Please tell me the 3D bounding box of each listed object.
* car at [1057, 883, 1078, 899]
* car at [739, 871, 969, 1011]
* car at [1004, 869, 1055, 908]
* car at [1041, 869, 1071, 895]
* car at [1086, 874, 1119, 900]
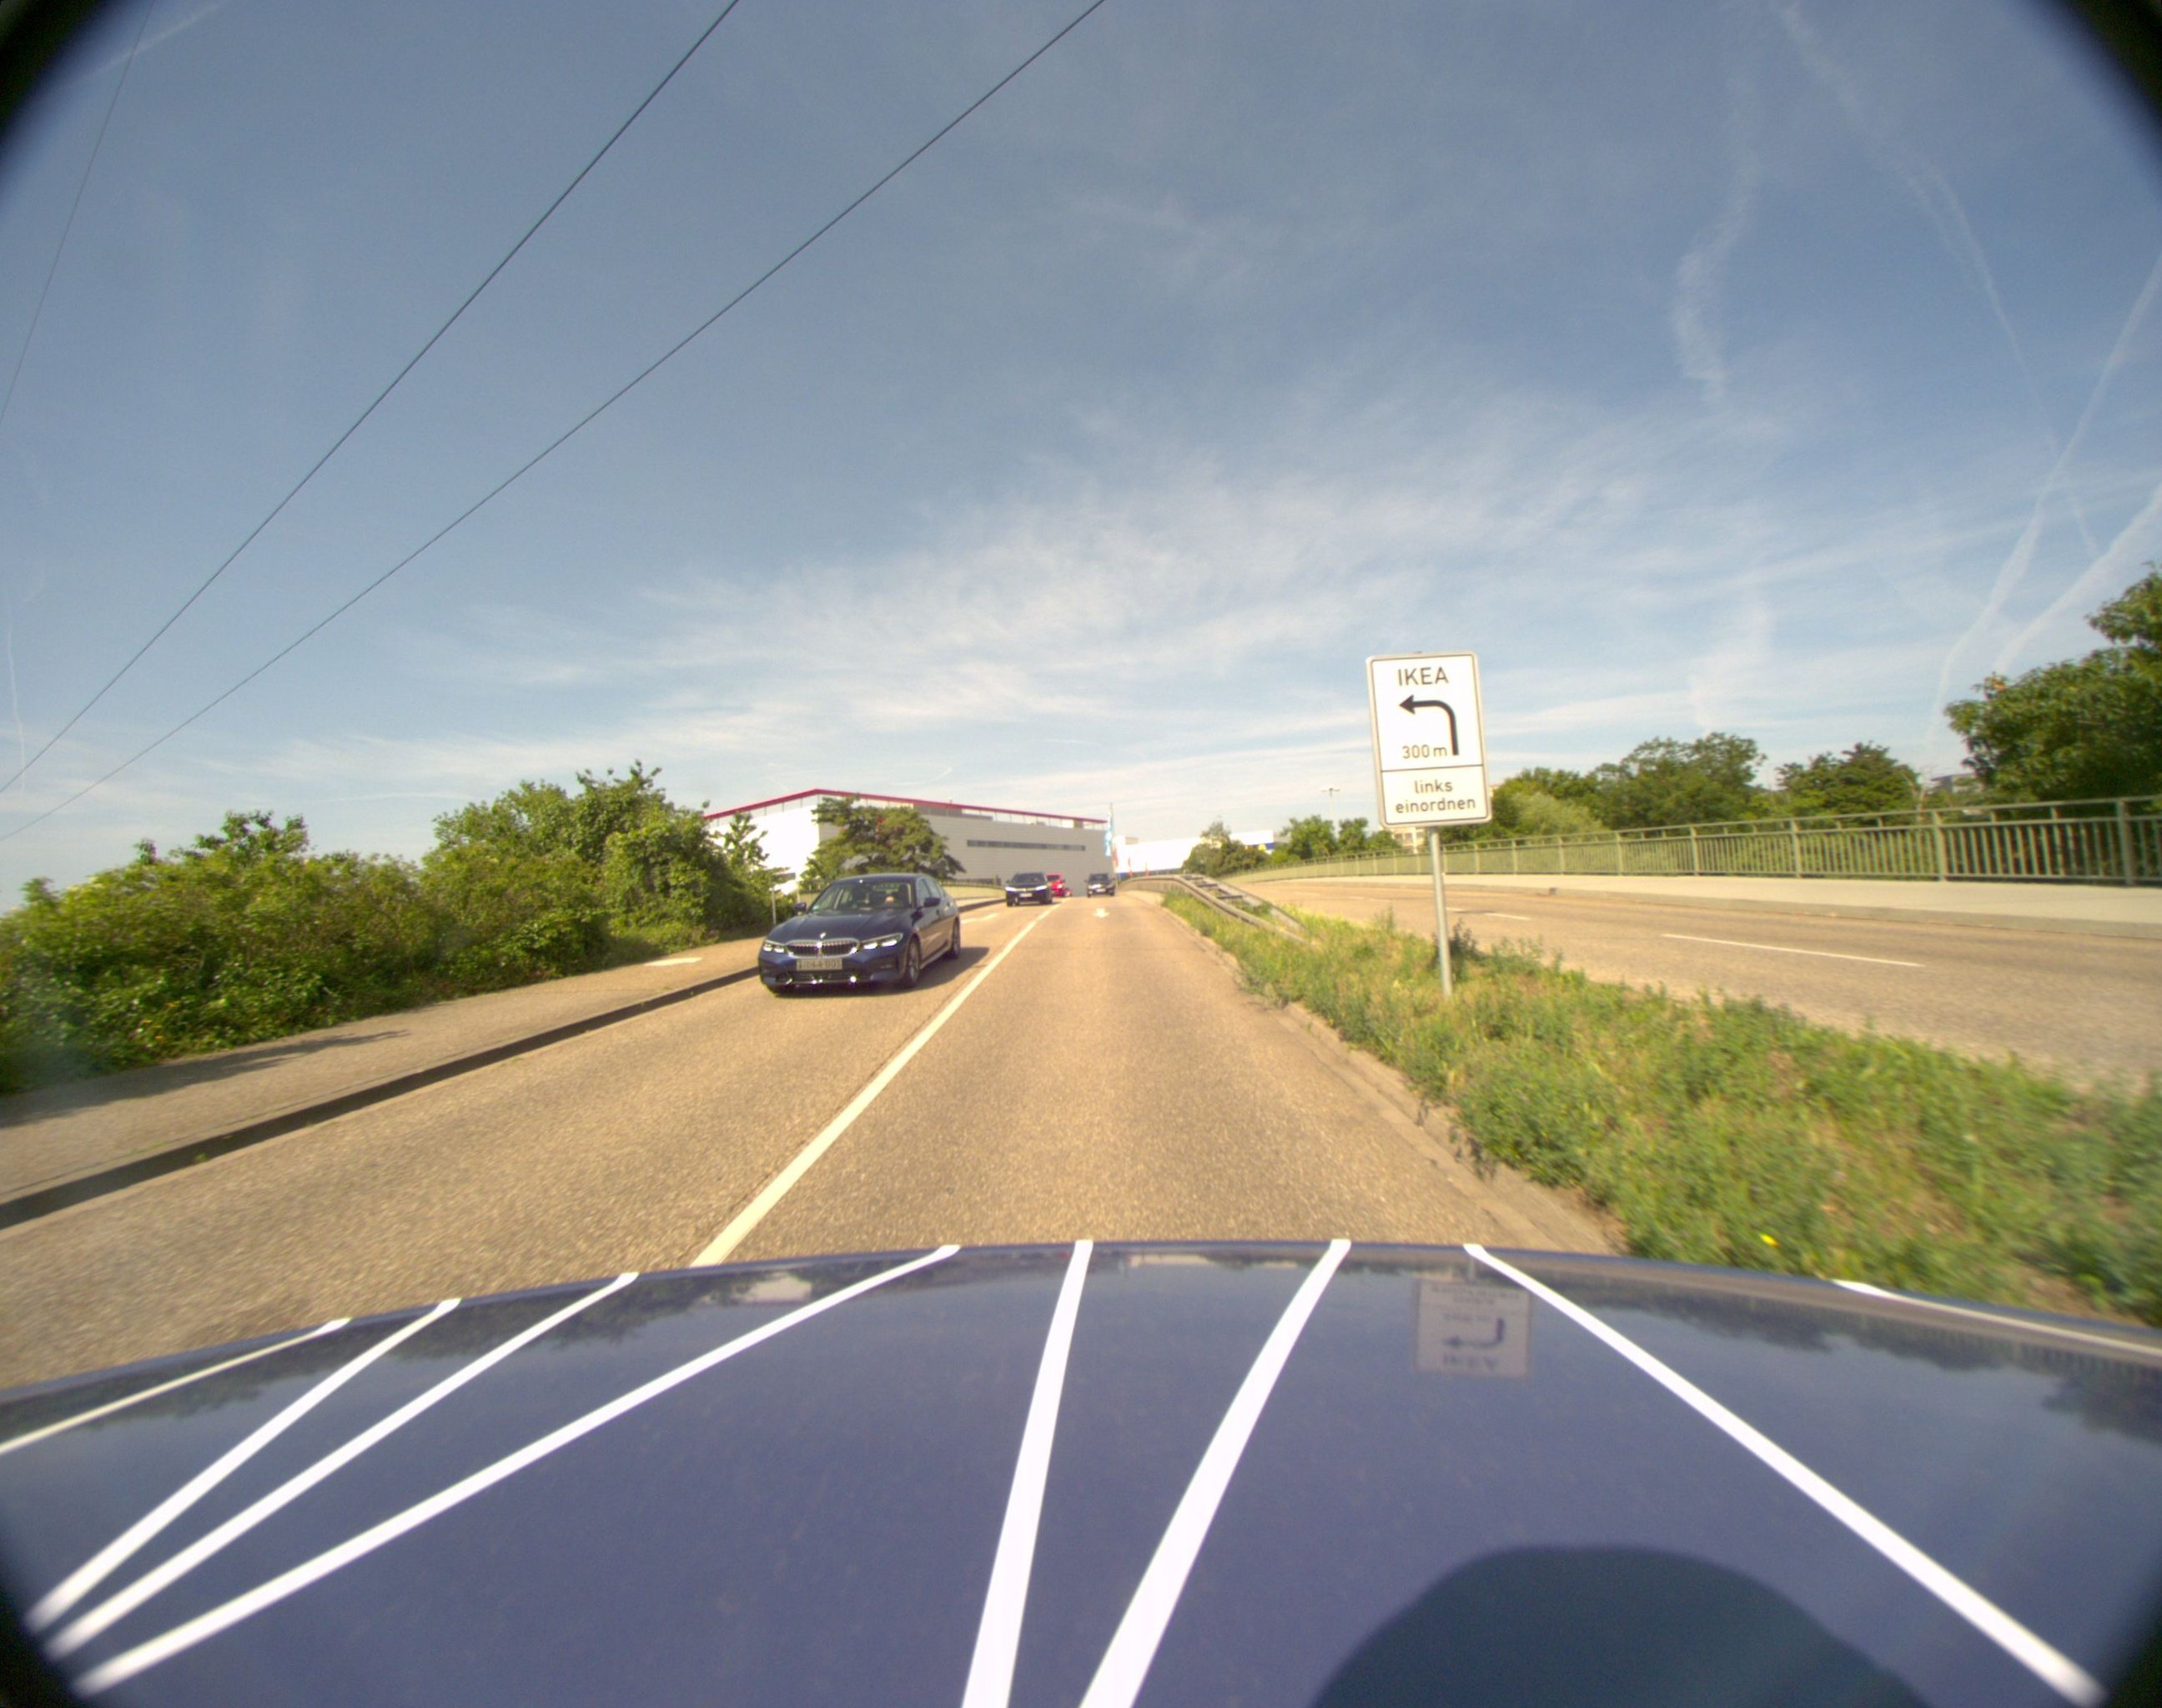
[{"bbox_3d":[-1.413,3.933,81.283,1.776,1.648,4.147,-2,-2,5],"label":"car"},{"bbox_3d":[-2.929,1.099,10.930,1.792,1.474,4.522,-4,-3,1],"label":"car"},{"bbox_3d":[-2.281,1.528,34.686,1.861,1.520,4.145,-4,-2,1],"label":"car"},{"bbox_3d":[-1.978,2.268,61.013,1.988,1.895,4.147,-4,-3,2],"label":"car"},{"bbox_3d":[1.273,1.980,45.701,1.849,1.409,4.001,-2,-2,1],"label":"car"}]
